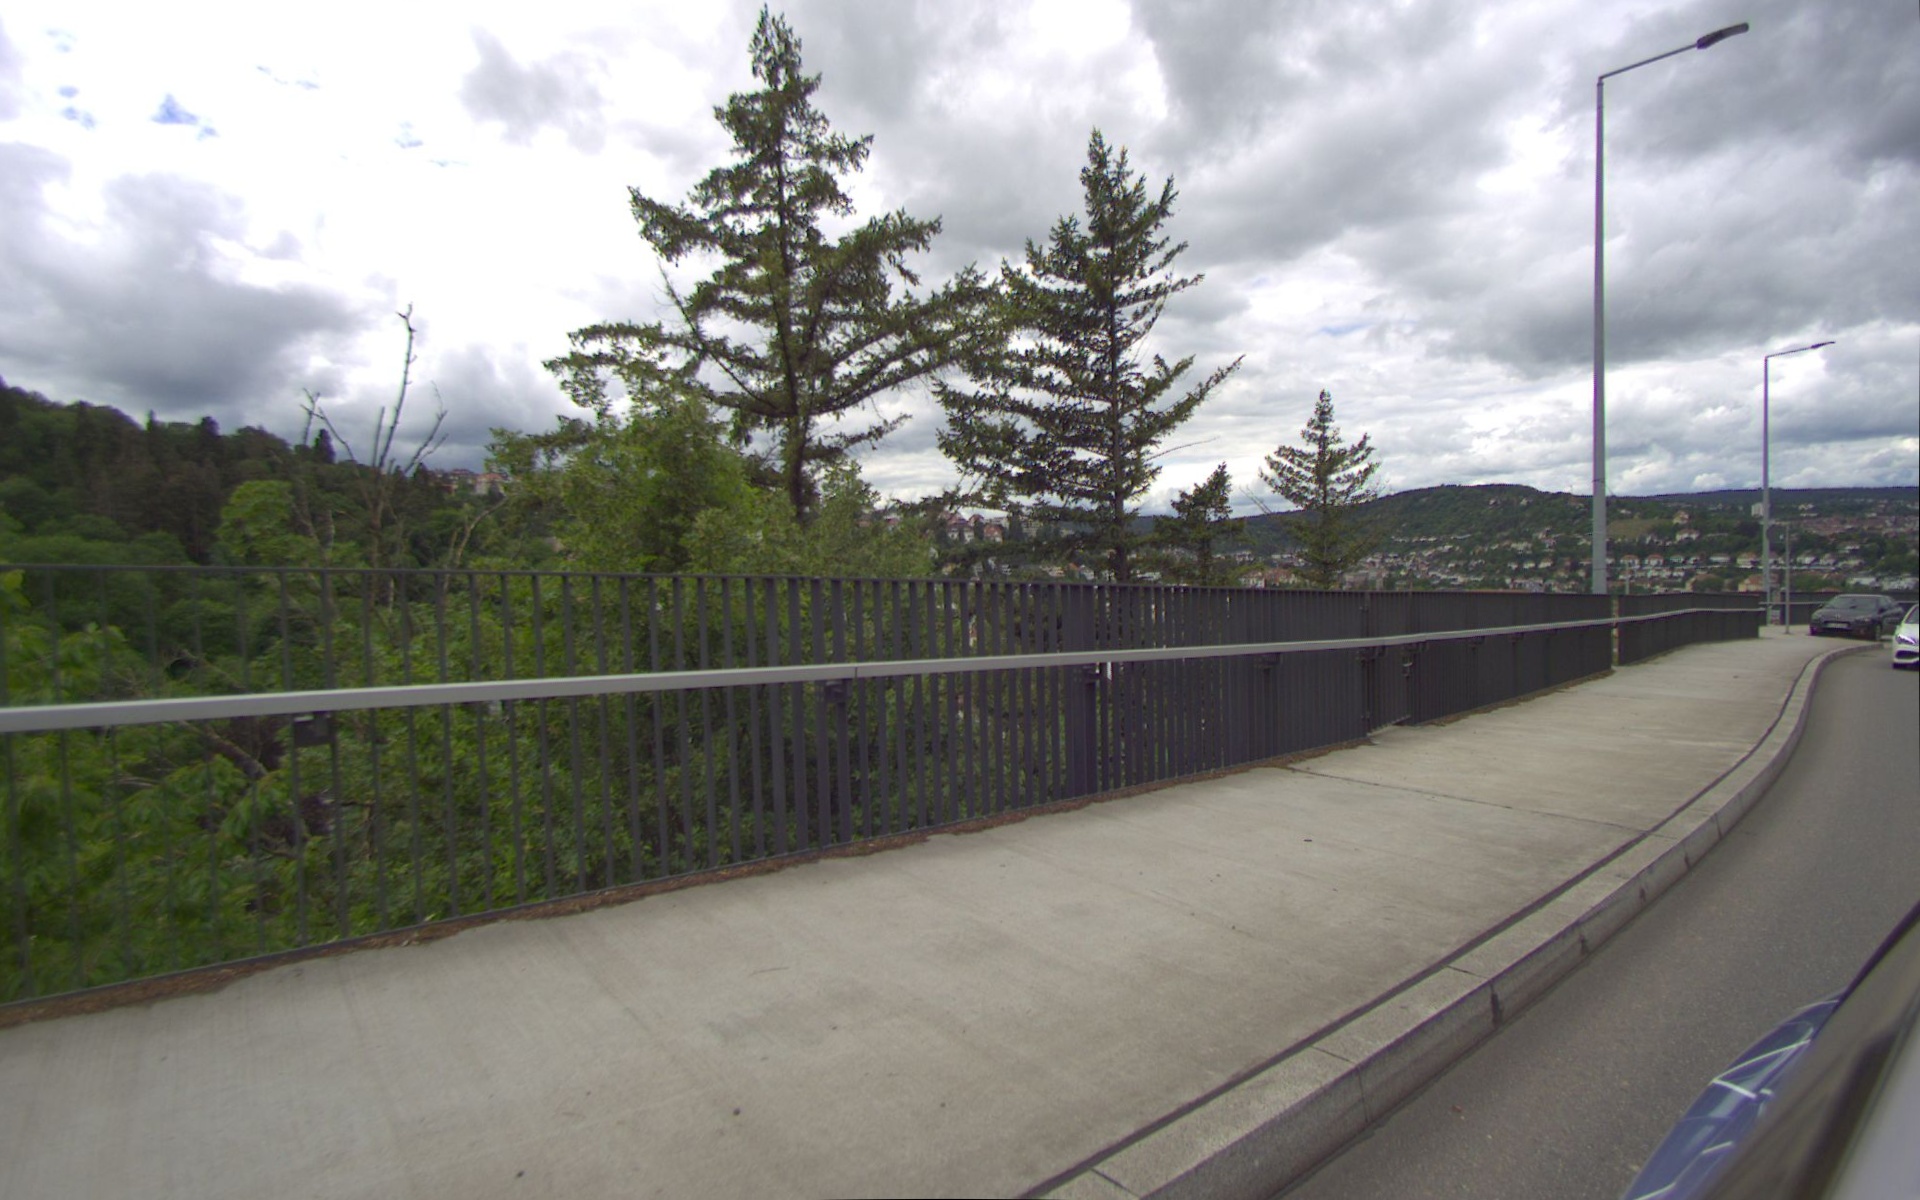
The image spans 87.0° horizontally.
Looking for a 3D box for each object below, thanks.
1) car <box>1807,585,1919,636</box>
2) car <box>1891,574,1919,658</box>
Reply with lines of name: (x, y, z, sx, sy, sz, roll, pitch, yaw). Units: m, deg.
car: (29.790, 0.299, 33.227, 4.009, 1.562, 1.882, 0, 2, -32)
car: (21.743, 0.418, 21.771, 3.927, 1.740, 1.998, 3, -2, -39)
